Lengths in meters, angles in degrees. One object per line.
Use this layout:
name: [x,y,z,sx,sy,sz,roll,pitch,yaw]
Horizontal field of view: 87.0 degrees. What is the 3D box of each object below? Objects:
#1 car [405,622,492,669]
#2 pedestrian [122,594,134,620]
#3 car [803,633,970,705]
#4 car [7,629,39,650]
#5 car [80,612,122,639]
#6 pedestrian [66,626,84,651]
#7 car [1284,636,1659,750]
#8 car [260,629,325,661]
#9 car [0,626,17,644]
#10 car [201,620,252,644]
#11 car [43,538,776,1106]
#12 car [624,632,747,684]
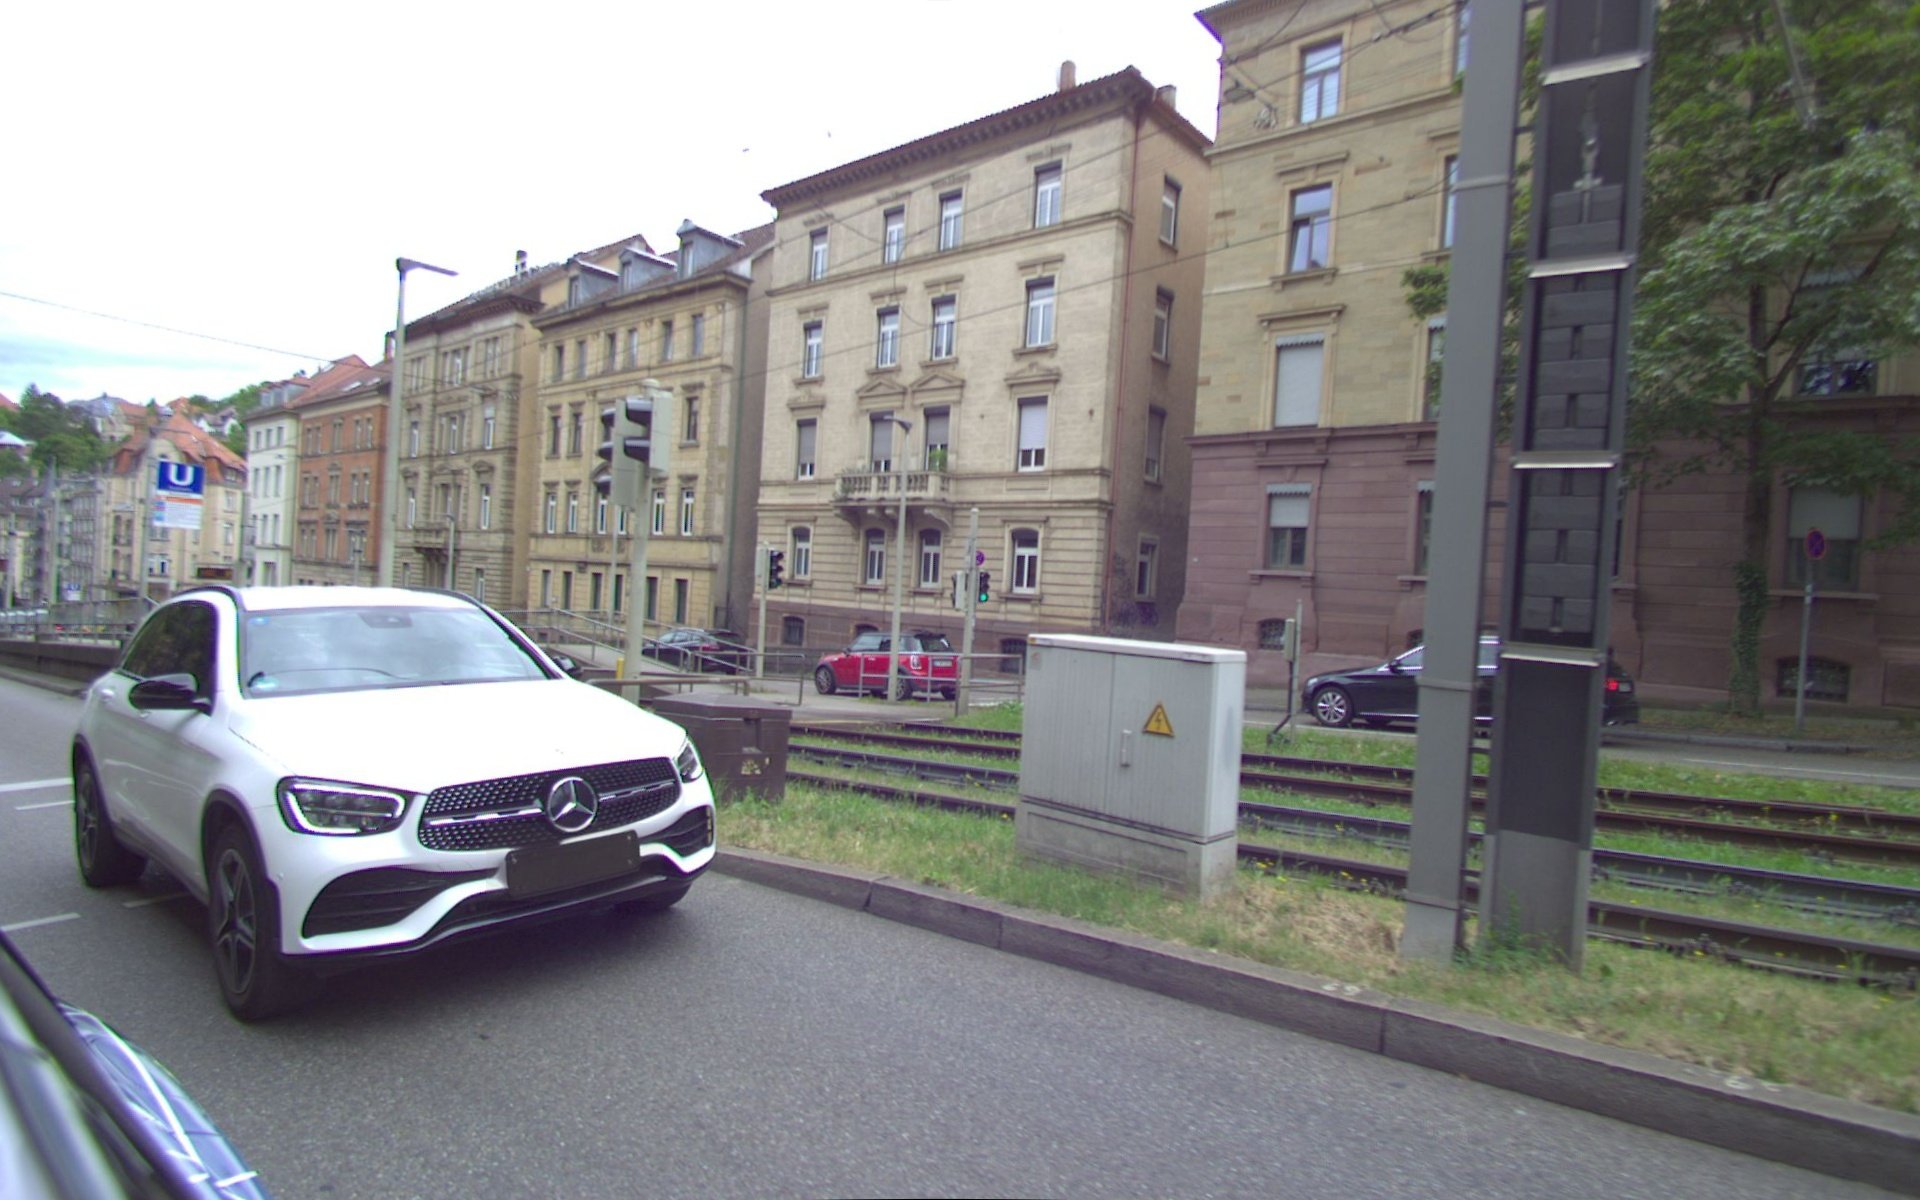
car: [-21.685,1.897,42.861,4.136,1.874,1.829,-1,-3,41]
pedestrian: [-51.036,0.434,62.069,0.540,1.574,0.457,-2,-3,40]
car: [-1.630,1.408,21.507,1.558,1.388,3.658,3,-3,-44]
car: [-103.496,4.361,111.797,5.452,2.322,1.973,-1,-3,41]
car: [-76.808,2.291,90.480,5.452,2.322,1.973,-1,-3,41]
pedestrian: [-60.110,2.625,68.722,0.842,1.701,0.757,-2,-3,41]
car: [7.494,1.285,15.261,1.728,1.439,4.752,4,-4,-43]
car: [-37.036,2.507,56.141,3.997,1.692,1.916,-2,-4,41]
car: [-101.305,3.664,106.817,4.411,1.909,1.973,-1,-3,40]
car: [-48.365,2.113,66.690,3.998,1.540,1.858,-2,-4,41]
car: [-3.146,0.682,5.226,4.668,1.679,1.817,-1,-1,41]
car: [-8.484,1.753,31.122,4.218,1.458,1.659,-1,-4,43]
